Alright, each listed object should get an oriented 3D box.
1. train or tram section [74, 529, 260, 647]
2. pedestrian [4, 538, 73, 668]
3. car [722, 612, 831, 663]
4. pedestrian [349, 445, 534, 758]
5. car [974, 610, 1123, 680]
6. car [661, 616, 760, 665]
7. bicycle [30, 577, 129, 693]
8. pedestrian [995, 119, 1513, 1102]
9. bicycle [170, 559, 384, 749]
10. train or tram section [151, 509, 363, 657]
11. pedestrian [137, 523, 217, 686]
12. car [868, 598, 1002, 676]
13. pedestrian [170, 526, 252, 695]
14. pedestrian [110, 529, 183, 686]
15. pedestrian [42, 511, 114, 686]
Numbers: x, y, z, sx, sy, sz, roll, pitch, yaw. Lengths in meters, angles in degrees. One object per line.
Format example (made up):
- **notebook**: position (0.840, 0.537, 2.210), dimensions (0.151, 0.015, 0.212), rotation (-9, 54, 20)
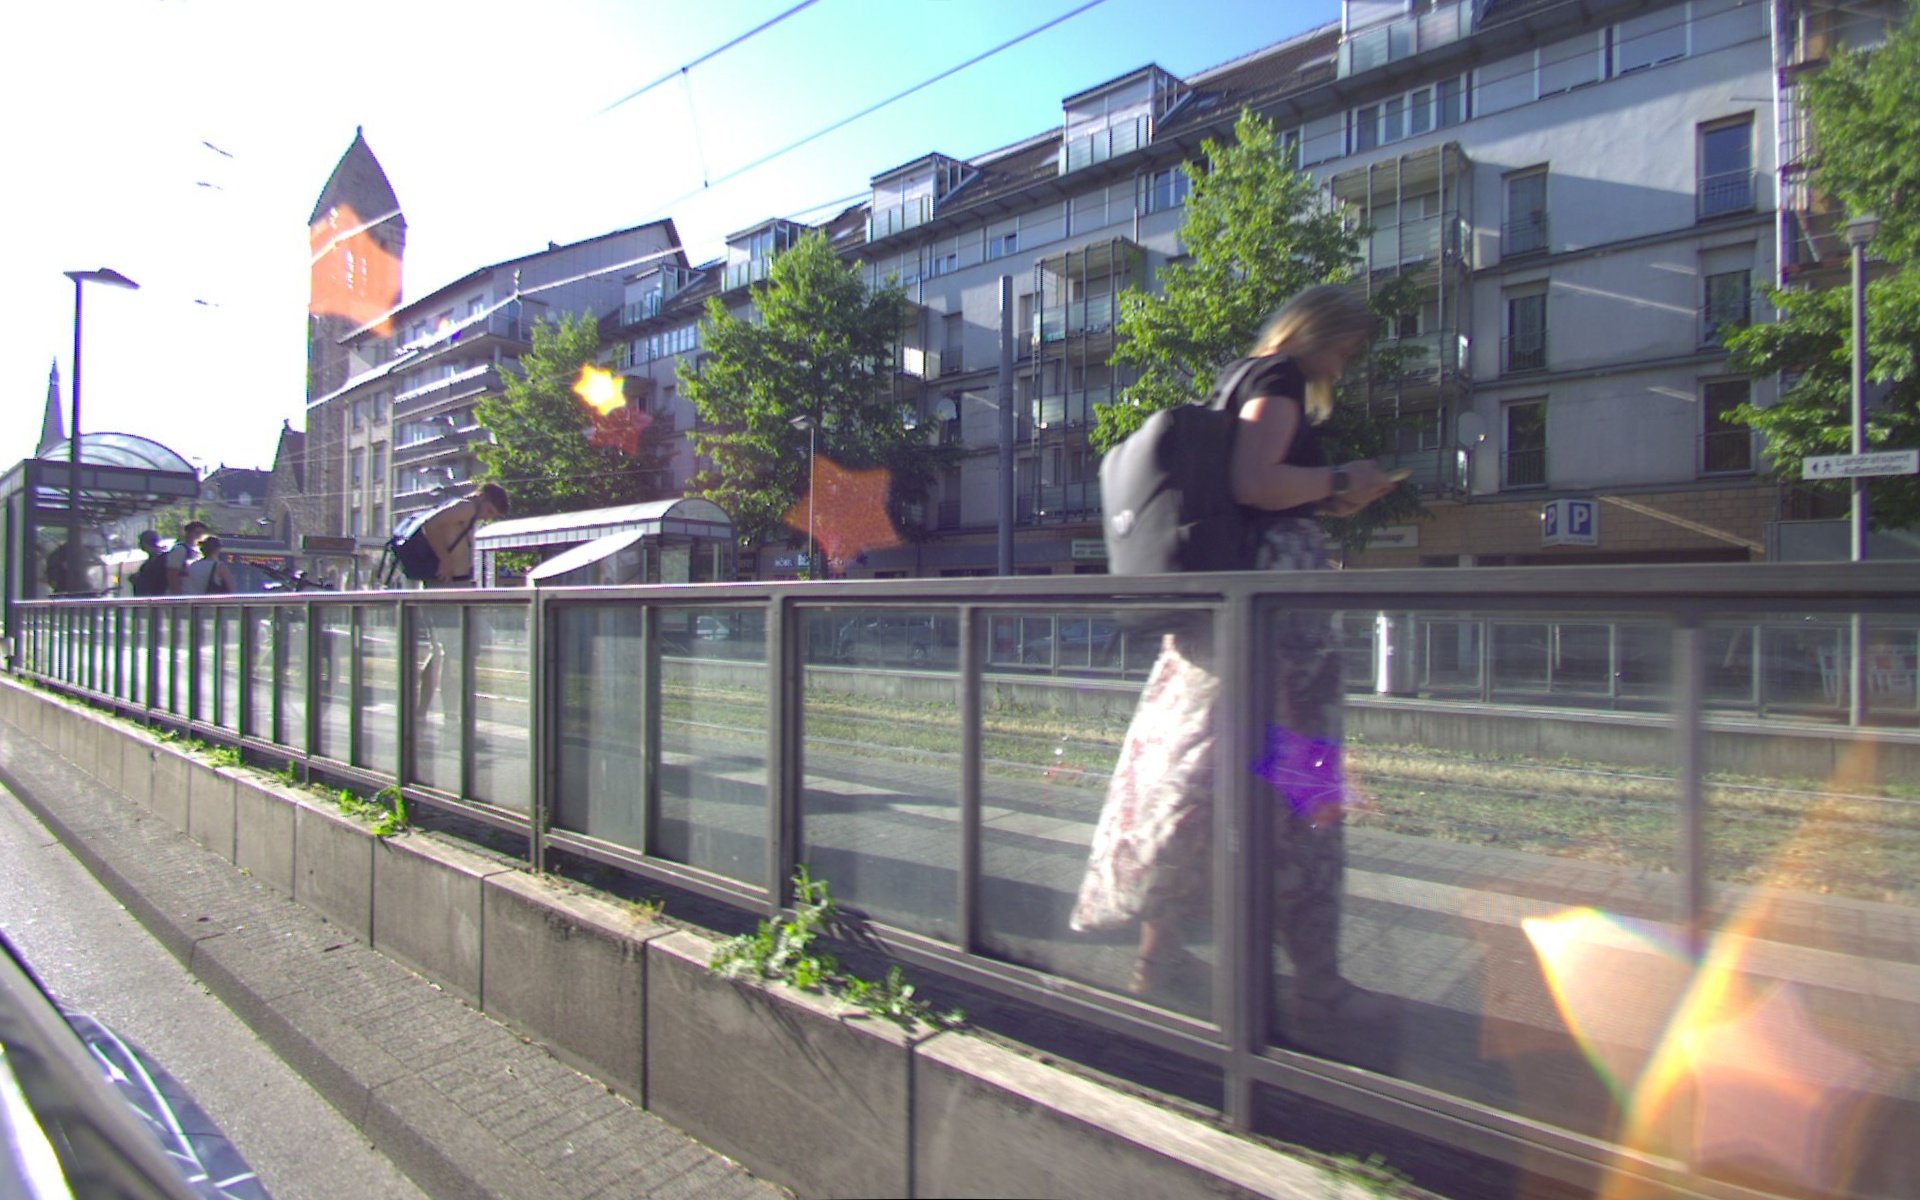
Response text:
- **train or tram section**: position (-29.978, -0.326, 37.827), dimensions (14.554, 3.713, 2.839), rotation (0, -1, 41)
- **pedestrian**: position (-14.002, 0.042, 15.380), dimensions (0.824, 1.916, 0.662), rotation (0, 0, 40)
- **car**: position (-6.515, 1.275, 35.780), dimensions (3.783, 1.648, 1.788), rotation (0, 1, 41)
- **pedestrian**: position (-3.232, 0.005, 6.317), dimensions (0.773, 1.784, 0.777), rotation (0, 0, 41)
- **car**: position (2.397, 1.177, 27.870), dimensions (3.783, 1.742, 1.788), rotation (0, 1, 41)
- **car**: position (-9.488, 1.492, 38.324), dimensions (3.783, 1.690, 1.788), rotation (0, 1, 41)
- **bicycle**: position (-9.432, 0.345, 10.816), dimensions (2.102, 1.142, 0.508), rotation (0, 0, 41)
- **pedestrian**: position (0.621, 0.015, 2.155), dimensions (0.851, 1.574, 0.671), rotation (0, 0, 41)
- **bicycle**: position (-4.797, 0.324, 7.048), dimensions (2.029, 1.142, 0.729), rotation (0, 1, 41)
- **train or tram section**: position (-20.891, -0.383, 29.777), dimensions (9.680, 3.713, 2.839), rotation (0, -1, 41)
- **pedestrian**: position (-8.583, 0.044, 11.098), dimensions (0.599, 1.721, 0.543), rotation (0, 0, 38)
- **car**: position (-0.789, 1.054, 30.711), dimensions (3.783, 2.182, 1.920), rotation (0, 1, 41)
- **pedestrian**: position (-7.942, 0.108, 10.730), dimensions (0.729, 1.721, 0.501), rotation (0, 0, 38)
- **pedestrian**: position (-9.766, 0.082, 12.148), dimensions (0.592, 1.813, 0.825), rotation (-1, 0, -44)
- **pedestrian**: position (-10.567, -0.016, 12.126), dimensions (0.592, 2.011, 0.825), rotation (-1, 0, -44)
